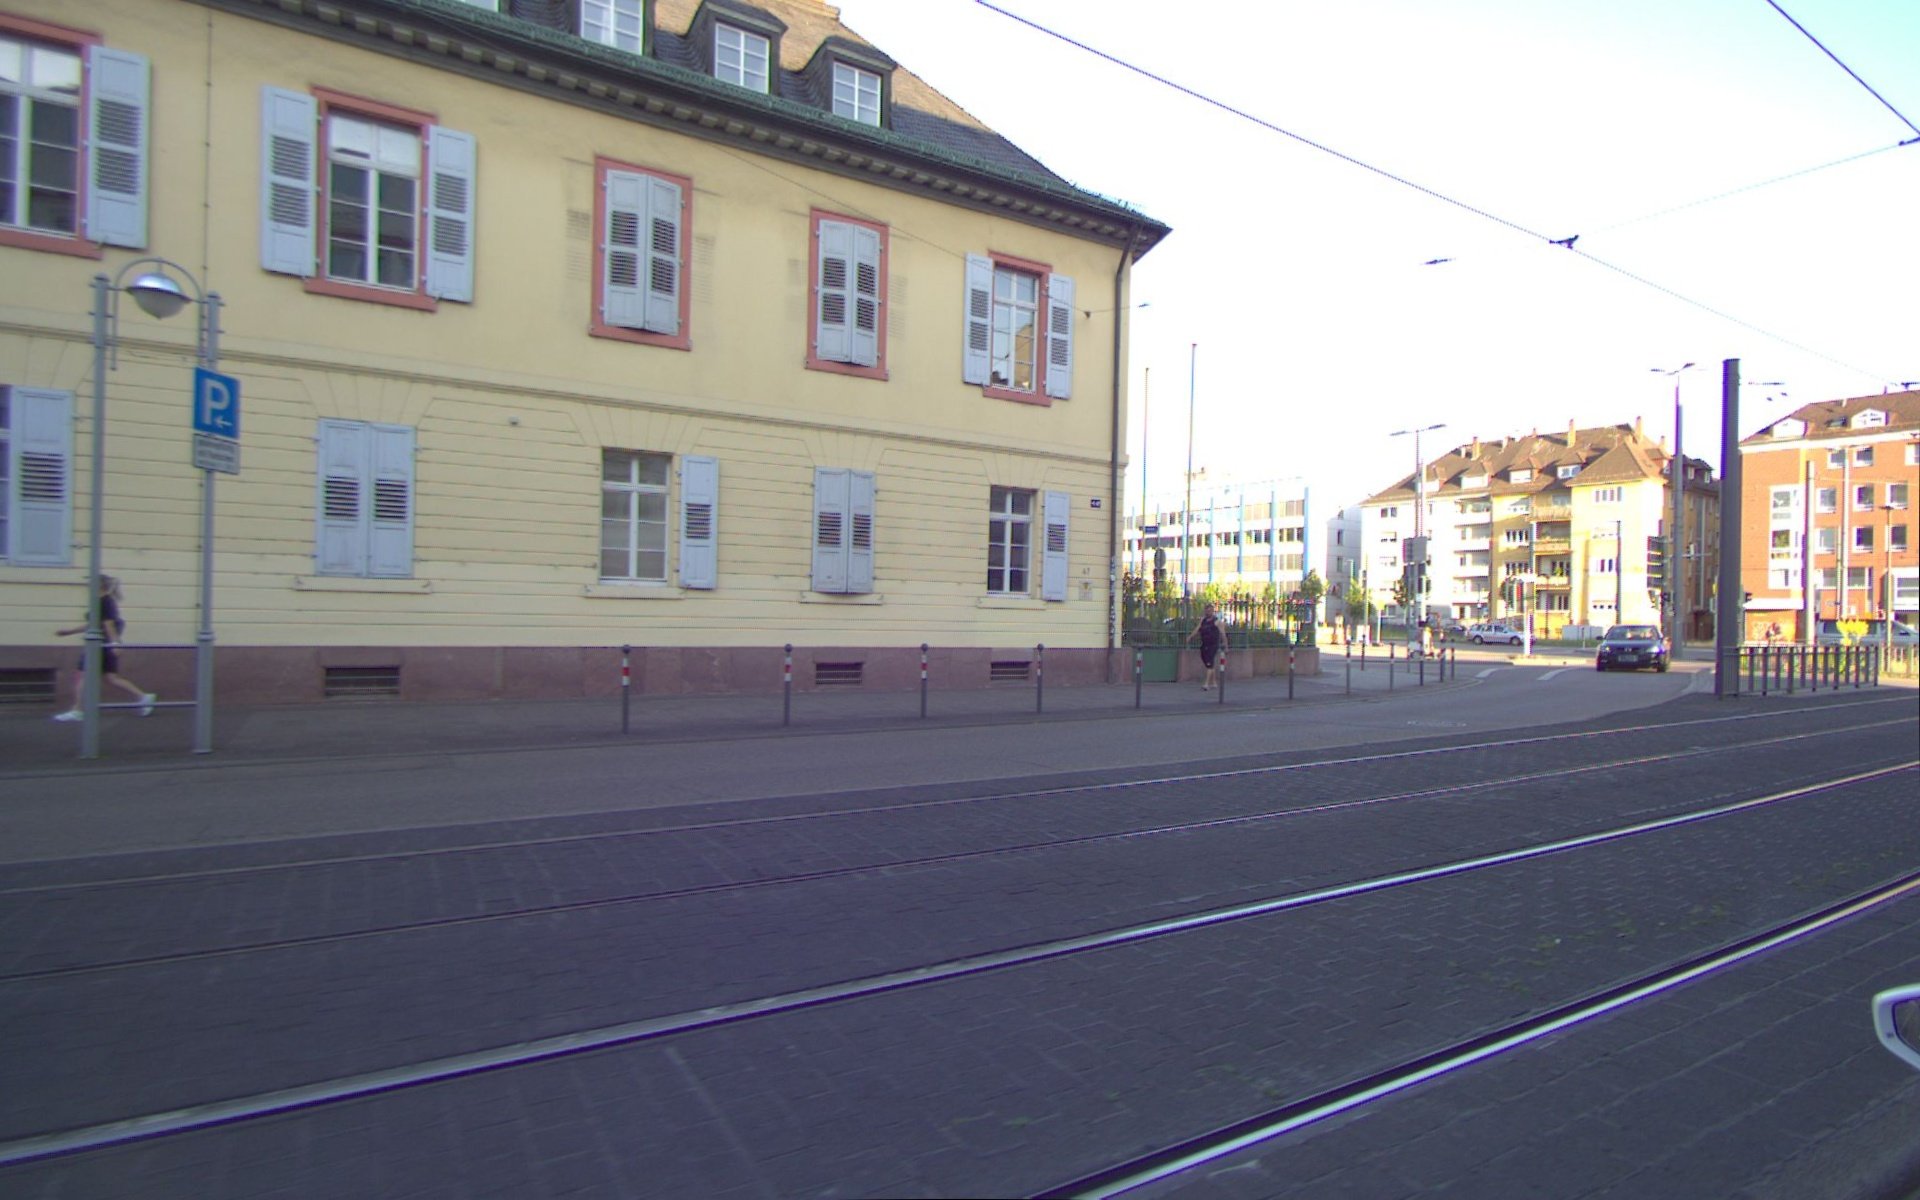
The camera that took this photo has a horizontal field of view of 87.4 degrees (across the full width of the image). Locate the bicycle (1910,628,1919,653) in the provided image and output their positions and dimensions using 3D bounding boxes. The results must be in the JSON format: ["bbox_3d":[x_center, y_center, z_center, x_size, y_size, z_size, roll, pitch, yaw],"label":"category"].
[{"bbox_3d":[44.215,1.854,44.783,2.609,1.114,0.433,3,1,41],"label":"bicycle"}]

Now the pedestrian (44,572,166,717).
[{"bbox_3d":[-9.643,0.484,11.365,0.867,1.562,0.796,2,1,-28],"label":"pedestrian"}]

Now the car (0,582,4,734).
[{"bbox_3d":[-10.750,0.561,8.201,3.954,1.494,1.739,1,1,-31],"label":"car"}]

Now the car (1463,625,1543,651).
[{"bbox_3d":[36.883,2.562,68.303,1.982,1.572,4.305,2,0,-37],"label":"car"}]

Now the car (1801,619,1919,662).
[{"bbox_3d":[45.868,2.019,51.042,1.987,2.040,4.636,1,-1,-45],"label":"car"}]

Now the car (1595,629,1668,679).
[{"bbox_3d":[20.846,1.632,31.129,1.744,1.394,4.208,1,-1,36],"label":"car"}]

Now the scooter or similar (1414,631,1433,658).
[{"bbox_3d":[19.133,1.821,41.476,0.420,1.077,1.619,3,1,35],"label":"scooter or similar"}]

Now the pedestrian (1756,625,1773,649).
[{"bbox_3d":[61.007,2.797,76.209,0.655,1.766,0.690,2,0,-6],"label":"pedestrian"}]

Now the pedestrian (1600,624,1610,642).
[{"bbox_3d":[59.894,3.032,93.278,0.495,1.664,0.547,2,1,-32],"label":"pedestrian"}]

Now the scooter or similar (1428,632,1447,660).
[{"bbox_3d":[19.623,1.889,41.237,0.420,1.097,1.619,3,1,35],"label":"scooter or similar"}]

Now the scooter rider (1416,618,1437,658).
[{"bbox_3d":[19.370,1.558,41.711,0.577,1.614,0.655,3,1,39],"label":"scooter rider"}]

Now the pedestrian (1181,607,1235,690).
[{"bbox_3d":[4.804,0.929,19.471,0.712,1.556,0.714,2,-1,-35],"label":"pedestrian"}]

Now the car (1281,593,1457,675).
[{"bbox_3d":[10.927,0.865,26.980,3.945,2.040,1.988,0,-1,44],"label":"car"}]
